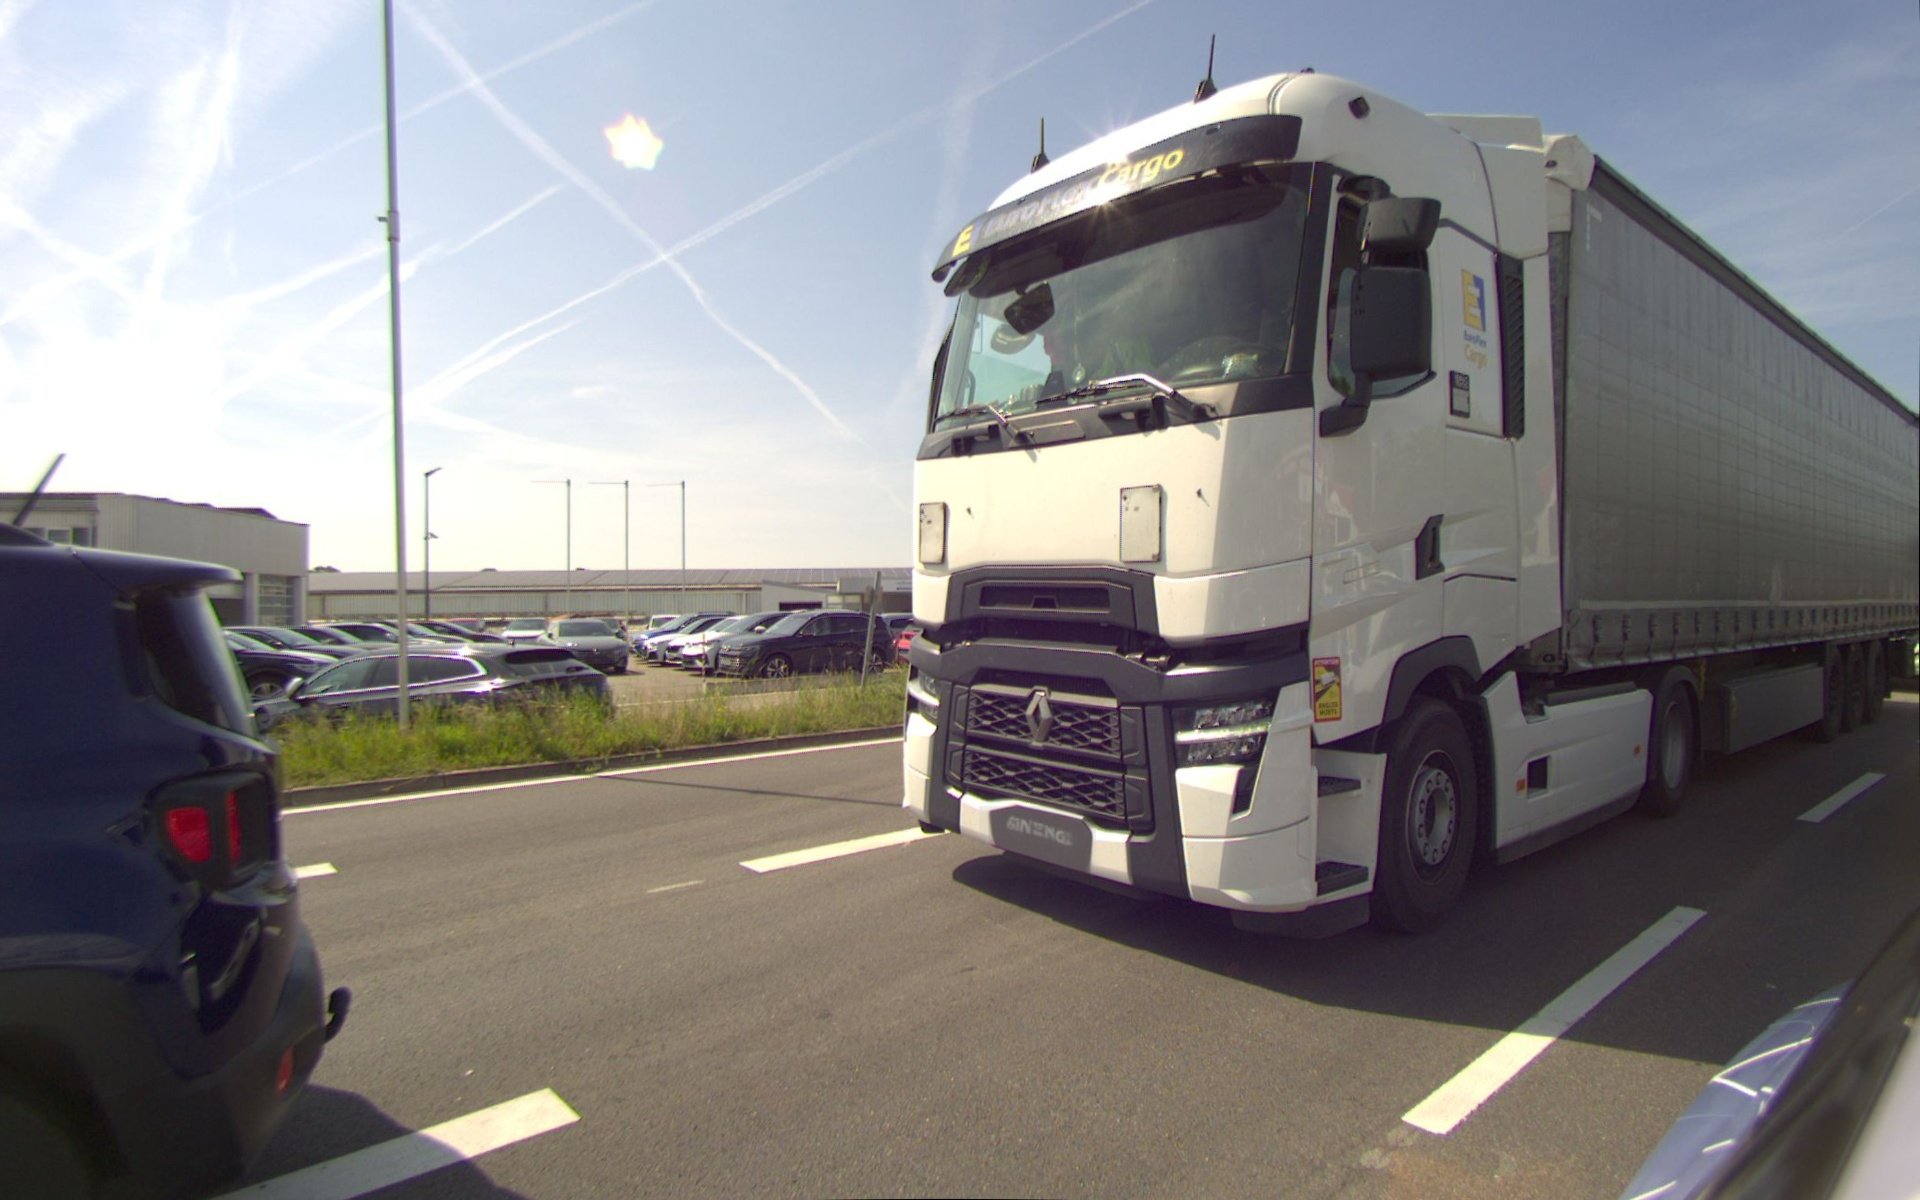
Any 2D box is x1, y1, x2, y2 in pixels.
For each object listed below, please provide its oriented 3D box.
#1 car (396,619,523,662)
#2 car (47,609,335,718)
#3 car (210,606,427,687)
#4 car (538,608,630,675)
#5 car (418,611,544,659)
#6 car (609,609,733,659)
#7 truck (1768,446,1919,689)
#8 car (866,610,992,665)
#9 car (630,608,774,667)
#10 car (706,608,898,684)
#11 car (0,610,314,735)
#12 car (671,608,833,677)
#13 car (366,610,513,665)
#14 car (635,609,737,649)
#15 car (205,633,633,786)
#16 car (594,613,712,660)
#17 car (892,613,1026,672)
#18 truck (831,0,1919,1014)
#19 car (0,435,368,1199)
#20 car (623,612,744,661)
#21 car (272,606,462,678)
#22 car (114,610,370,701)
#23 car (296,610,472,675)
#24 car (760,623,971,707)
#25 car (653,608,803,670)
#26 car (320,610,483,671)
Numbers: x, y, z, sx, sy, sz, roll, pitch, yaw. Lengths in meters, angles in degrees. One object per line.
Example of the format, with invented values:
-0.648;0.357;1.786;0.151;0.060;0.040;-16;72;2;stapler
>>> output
-18.084;1.443;36.753;3.916;1.438;1.713;0;-1;-17;car
-14.404;1.097;19.184;4.156;1.812;1.982;0;-1;-39;car
-15.513;1.081;24.752;4.143;1.812;1.987;0;-1;-20;car
-10.231;1.057;27.363;1.959;1.638;4.006;0;0;-26;car
-18.562;1.319;39.395;4.143;1.777;1.911;0;-1;-15;car
-10.215;1.151;35.838;3.896;1.638;1.708;0;-1;-37;car
19.166;-0.537;19.837;10.940;3.859;2.886;0;0;-39;truck
-0.880;1.070;29.994;3.531;1.426;1.562;-1;2;-39;car
-7.836;1.090;30.874;3.896;1.638;1.708;0;-1;-37;car
-3.815;1.051;24.701;4.202;1.678;1.999;0;-1;-37;car
-13.351;1.098;16.888;4.156;1.812;1.982;0;-1;-39;car
-5.427;1.054;26.591;3.756;1.638;1.857;0;-1;-37;car
-17.642;1.242;34.486;4.143;1.777;1.911;0;-1;-15;car
-11.714;1.200;43.349;3.896;1.638;1.708;0;-1;-37;car
-5.999;1.108;11.298;4.288;1.420;1.729;0;-1;17;car
-11.525;1.315;38.077;3.896;1.638;1.708;0;-1;-37;car
0.010;1.132;28.115;3.531;1.426;1.562;-1;2;-39;car
6.485;-0.788;9.836;16.411;4.320;2.896;0;0;-40;truck
-3.260;0.569;1.426;3.930;1.706;1.822;0;1;-41;car
-9.091;1.153;33.325;3.531;1.426;1.562;-1;2;-39;car
-15.900;1.074;27.391;4.143;1.812;1.987;0;-1;-20;car
-15.407;1.135;22.007;4.143;1.812;1.987;0;-1;-20;car
-16.798;1.210;29.739;4.143;1.777;1.911;0;-1;-15;car
-1.780;1.172;19.147;3.623;1.420;1.725;0;-1;23;car
-6.641;1.059;29.133;3.896;1.638;1.708;0;-1;-37;car
-17.433;1.227;31.824;4.143;1.777;1.911;0;-1;-15;car
